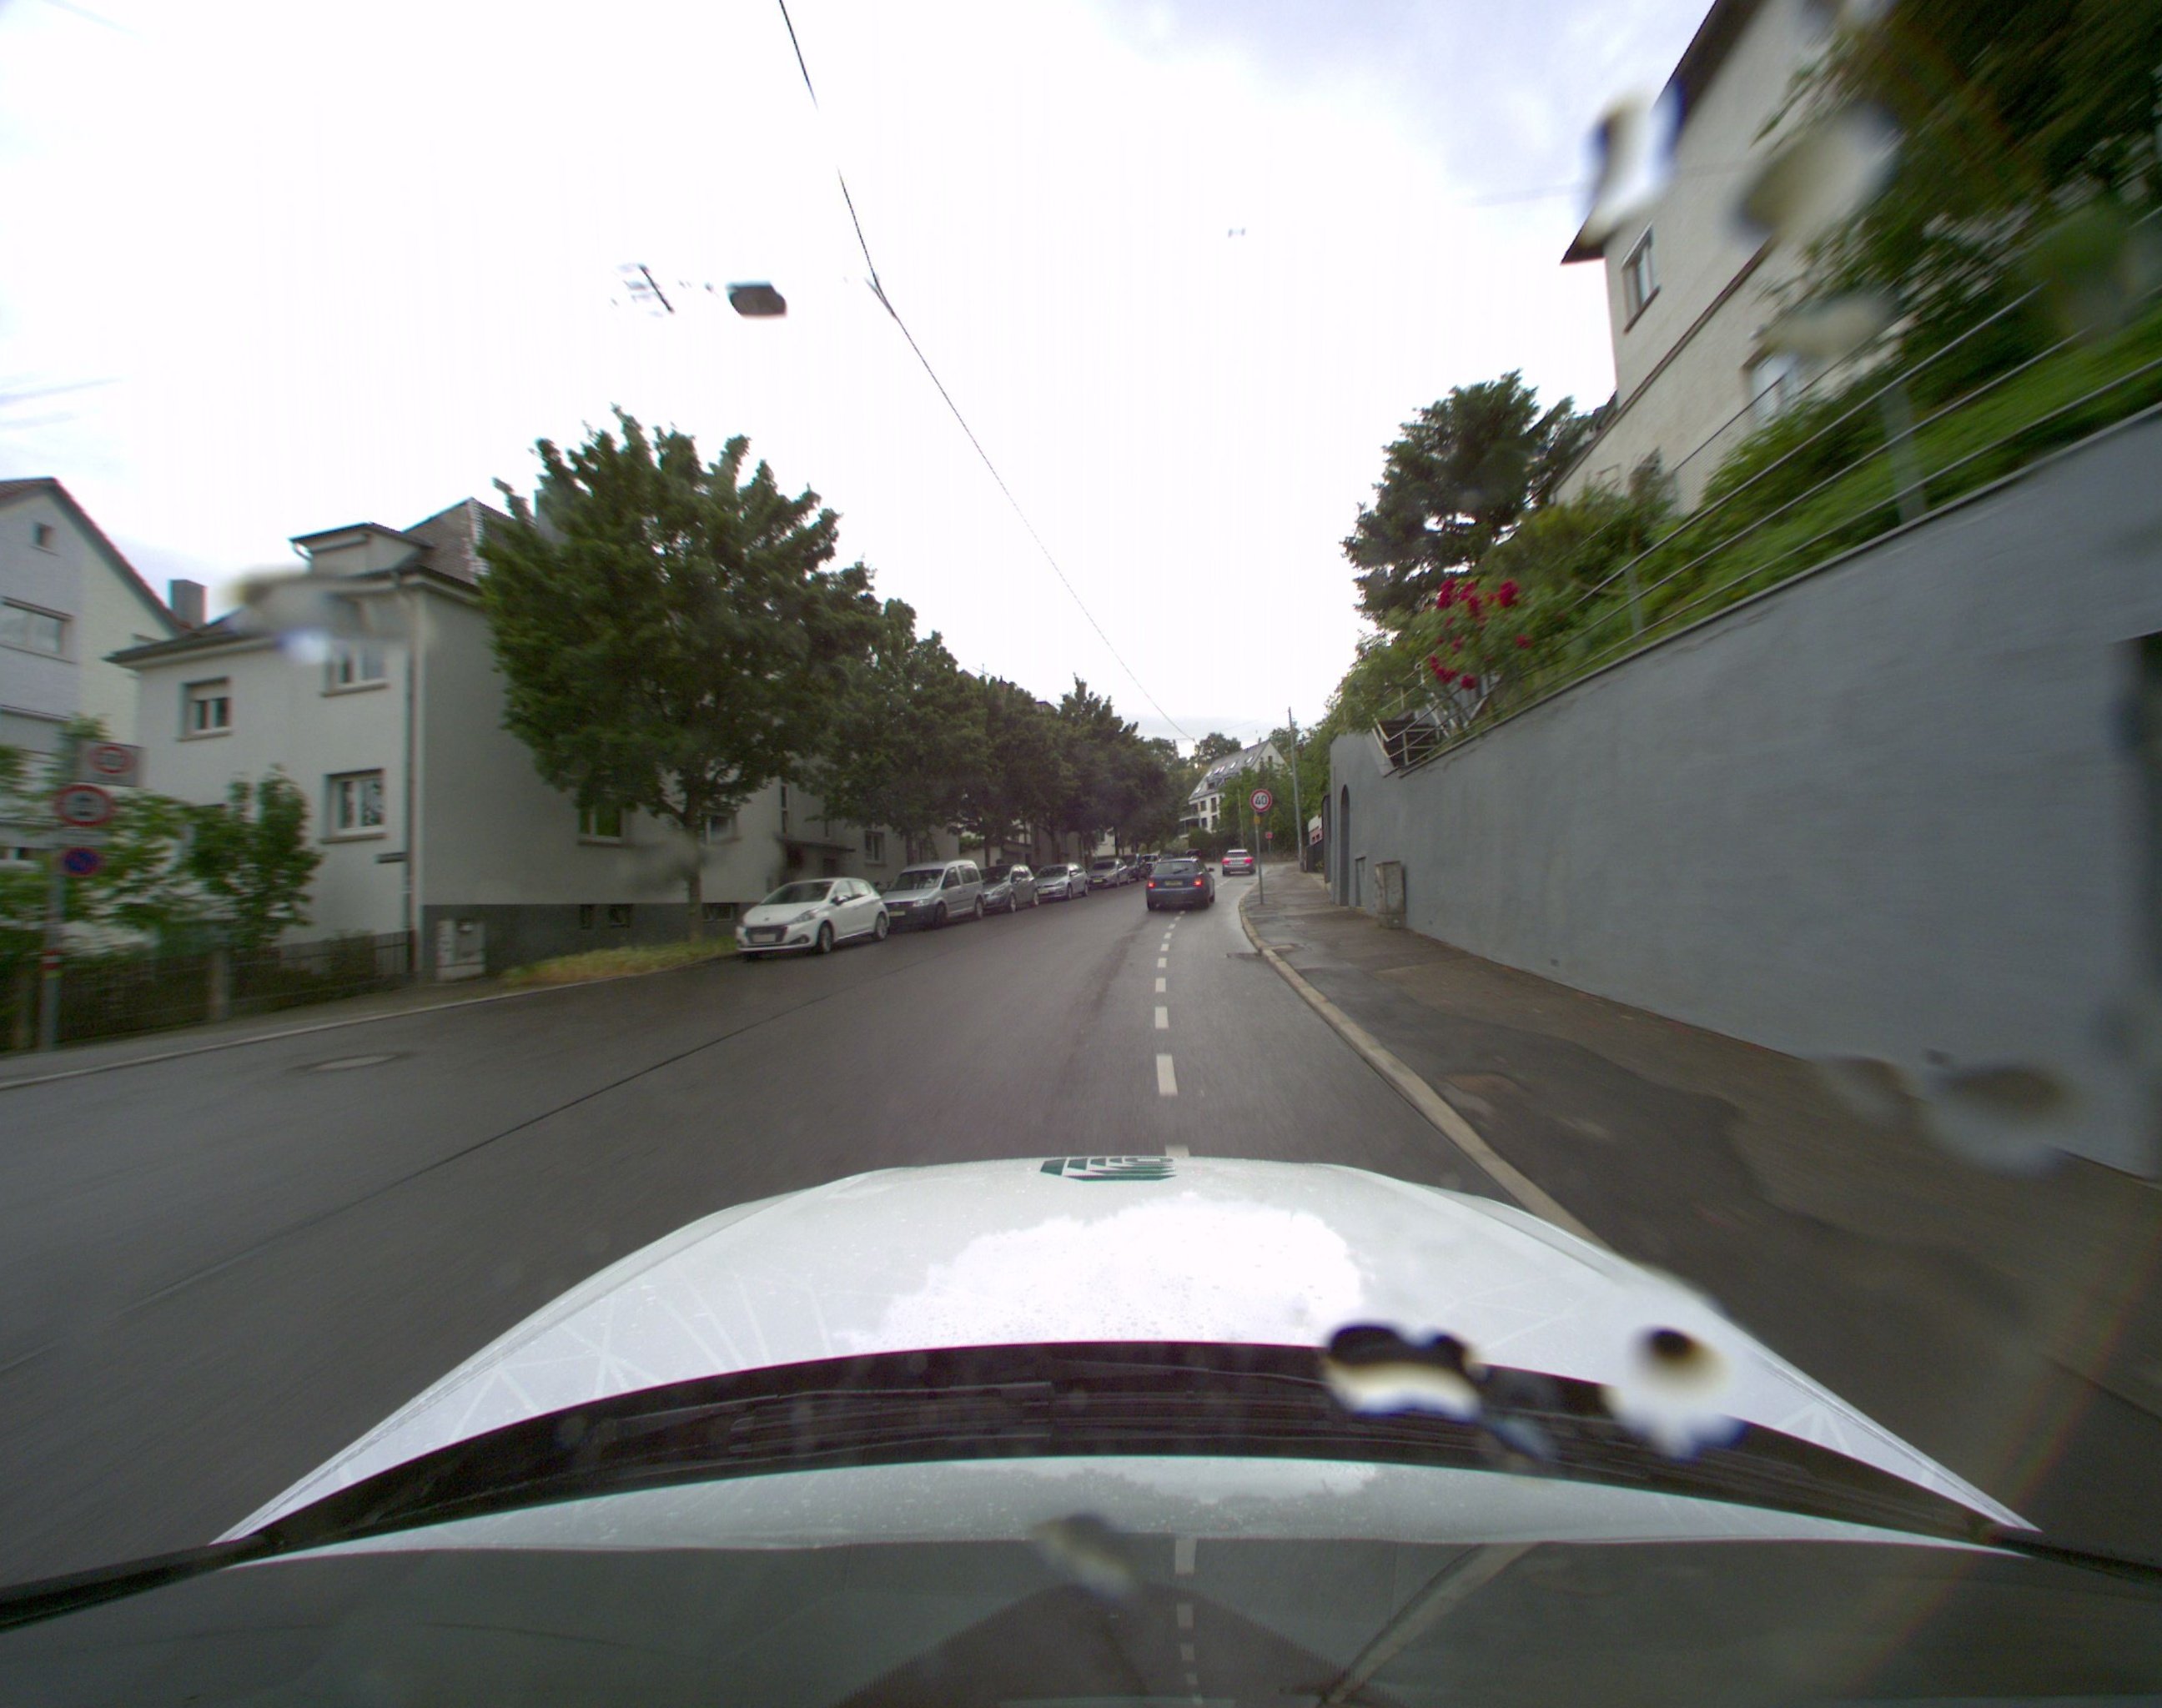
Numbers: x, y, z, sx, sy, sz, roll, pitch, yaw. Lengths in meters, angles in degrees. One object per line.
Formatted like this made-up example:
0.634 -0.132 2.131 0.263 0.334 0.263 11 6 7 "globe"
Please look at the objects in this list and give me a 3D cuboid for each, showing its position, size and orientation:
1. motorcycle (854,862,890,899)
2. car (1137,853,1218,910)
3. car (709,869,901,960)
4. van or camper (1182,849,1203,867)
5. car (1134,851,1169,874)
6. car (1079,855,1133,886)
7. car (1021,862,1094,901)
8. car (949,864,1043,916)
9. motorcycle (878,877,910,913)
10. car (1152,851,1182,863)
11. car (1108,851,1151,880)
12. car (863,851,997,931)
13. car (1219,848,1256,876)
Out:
-6.749 0.844 26.333 0.427 1.120 1.625 -4 0 10 "motorcycle"
2.946 0.744 24.065 1.841 1.414 4.377 -3 0 13 "car"
-5.538 1.148 17.019 1.773 1.514 4.358 -6 -2 10 "car"
13.481 0.501 98.799 1.987 2.014 3.998 -2 -2 0 "van or camper"
4.986 0.561 56.997 1.700 1.462 3.897 -2 1 15 "car"
1.422 0.880 43.645 1.791 1.552 4.818 -2 -1 15 "car"
-0.877 1.080 33.496 1.792 1.453 4.613 -2 -1 14 "car"
-2.798 1.171 27.778 1.792 1.485 4.251 -5 -2 13 "car"
-6.434 1.397 28.109 0.408 1.098 1.625 -4 0 10 "motorcycle"
12.794 0.476 121.157 4.201 1.508 1.721 -3 -1 -36 "car"
3.003 0.655 49.713 1.791 1.627 4.155 -2 0 15 "car"
-4.091 0.983 22.933 1.900 2.001 4.565 -2 -1 14 "car"
9.280 0.438 48.035 1.936 1.561 4.279 0 1 13 "car"
